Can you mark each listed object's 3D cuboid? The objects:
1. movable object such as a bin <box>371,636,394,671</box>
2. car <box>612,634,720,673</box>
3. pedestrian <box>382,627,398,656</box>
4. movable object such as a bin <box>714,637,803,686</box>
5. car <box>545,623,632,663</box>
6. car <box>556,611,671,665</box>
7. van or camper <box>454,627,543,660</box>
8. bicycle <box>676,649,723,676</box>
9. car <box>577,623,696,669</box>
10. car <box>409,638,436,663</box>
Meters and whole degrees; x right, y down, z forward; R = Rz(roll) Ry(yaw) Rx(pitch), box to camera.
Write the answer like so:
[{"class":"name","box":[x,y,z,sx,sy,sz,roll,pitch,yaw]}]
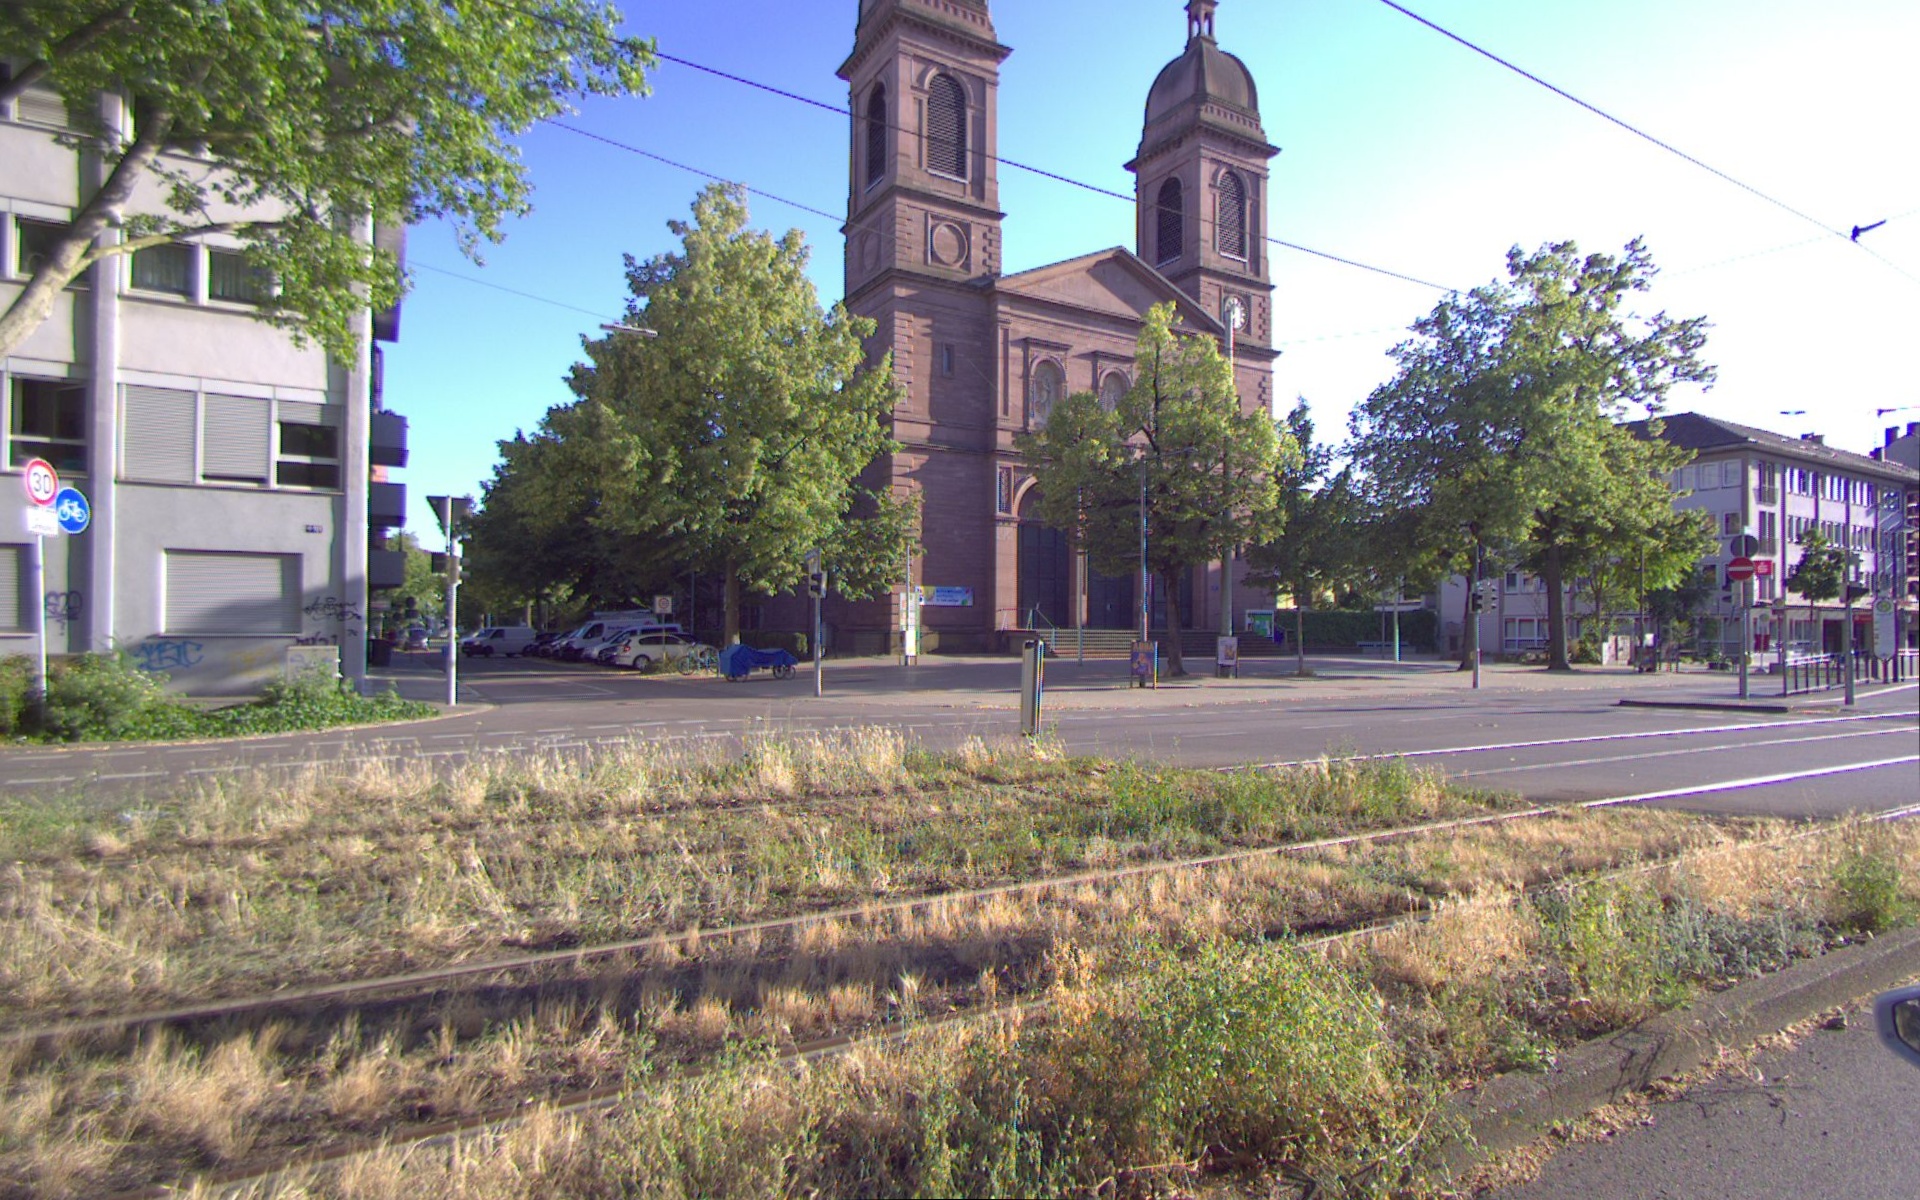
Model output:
[{"class":"movable object such as a bin","box":[-22.307,2.057,38.807,0.737,1.323,0.865,1,-2,-32]},{"class":"car","box":[-12.230,2.203,41.823,3.953,1.479,1.984,2,0,-30]},{"class":"pedestrian","box":[-35.348,2.560,62.317,0.684,1.774,0.634,2,-2,-44]},{"class":"movable object such as a bin","box":[-6.157,1.851,30.713,2.416,1.228,1.102,-3,2,-30]},{"class":"car","box":[-20.428,2.336,55.267,4.174,2.040,1.981,2,0,-34]},{"class":"car","box":[-18.299,1.992,53.110,5.382,2.710,1.980,2,0,-36]},{"class":"van or camper","box":[-30.000,2.812,65.495,1.963,2.040,5.129,0,-2,27]},{"class":"bicycle","box":[-9.065,2.185,34.963,1.517,0.904,0.465,2,0,-27]},{"class":"car","box":[-15.527,2.205,48.317,5.121,2.040,1.981,2,0,-34]},{"class":"car","box":[-45.775,4.252,85.470,1.976,2.040,3.970,1,-2,-29]}]
